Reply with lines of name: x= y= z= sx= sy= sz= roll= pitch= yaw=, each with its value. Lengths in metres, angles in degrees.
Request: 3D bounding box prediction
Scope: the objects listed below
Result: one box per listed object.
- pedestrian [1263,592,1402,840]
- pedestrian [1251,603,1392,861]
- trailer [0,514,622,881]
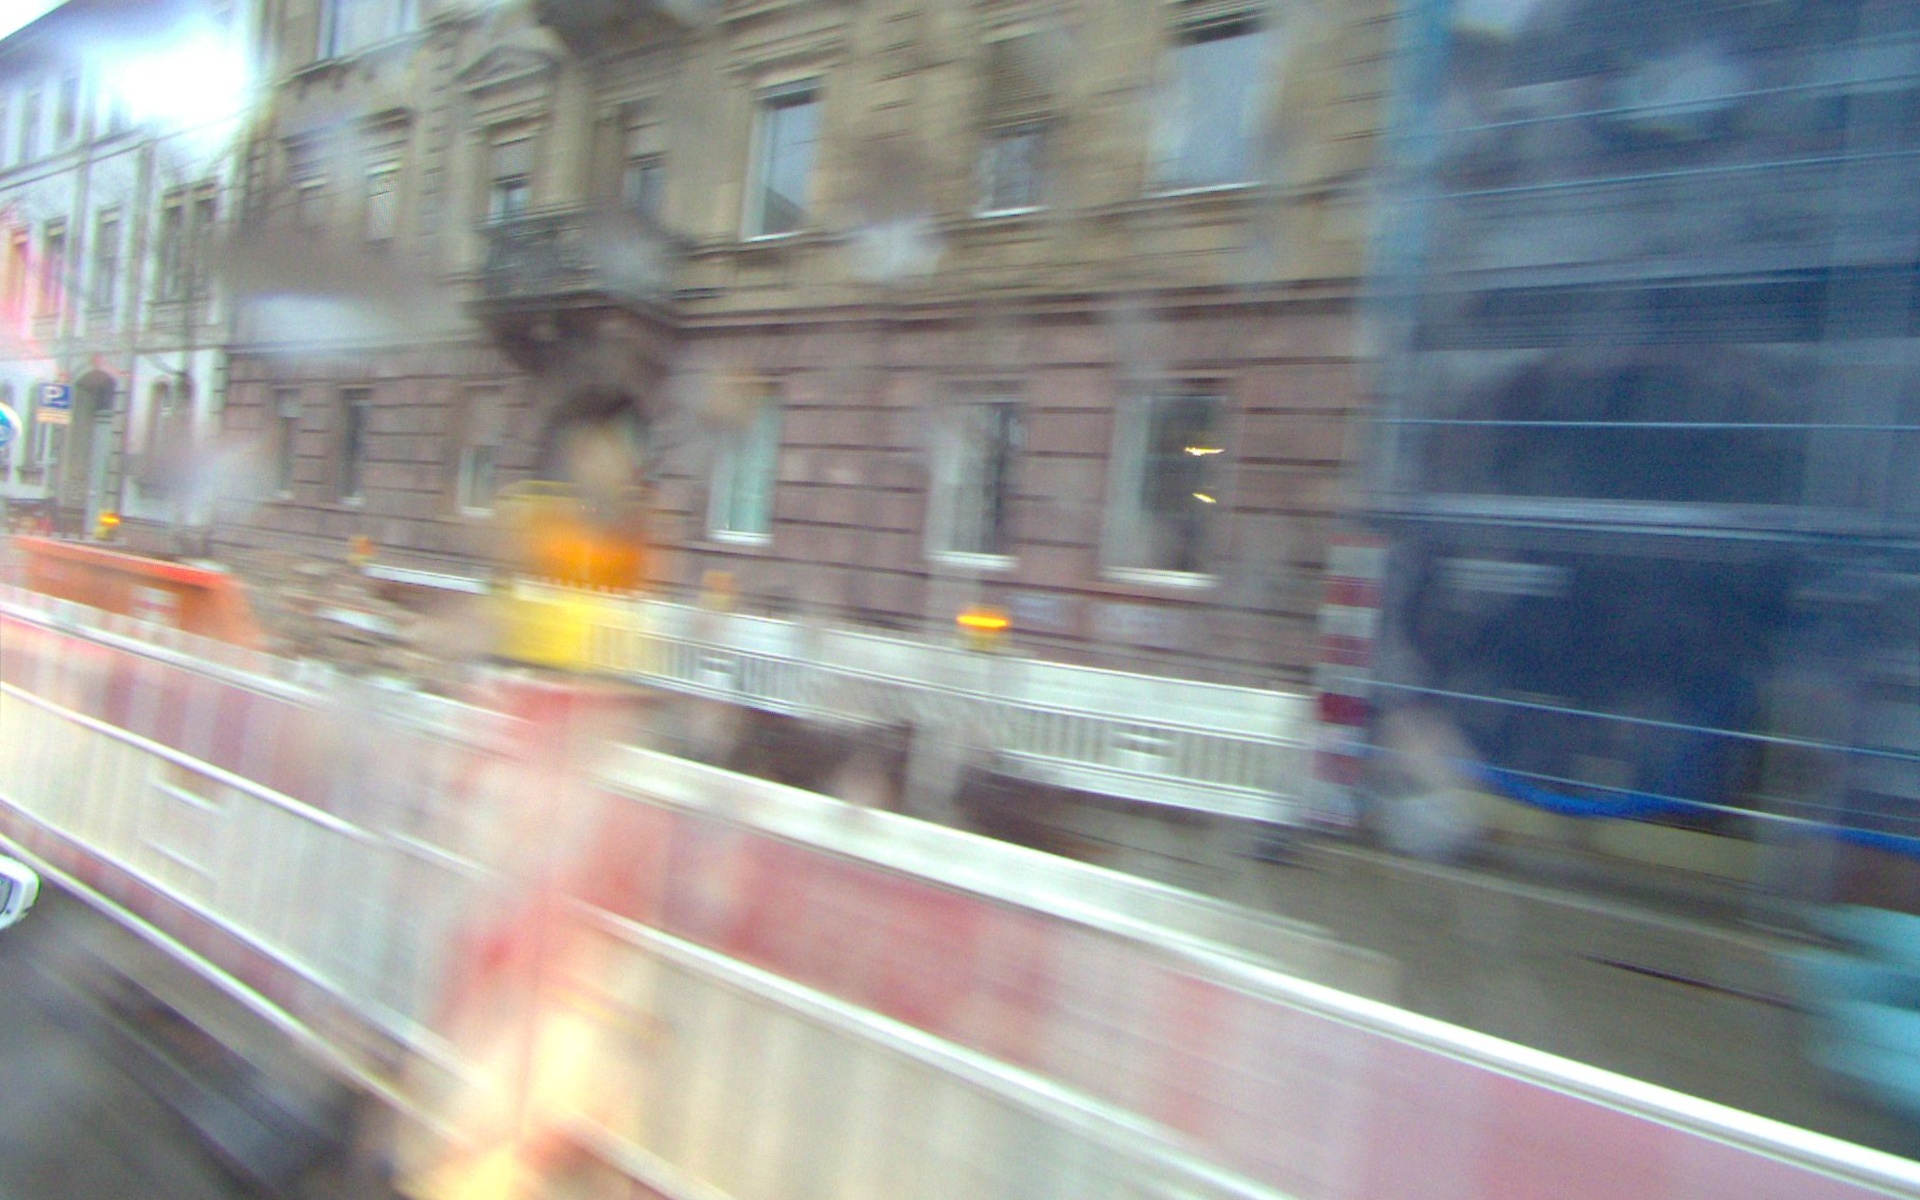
pedestrian: x=2.859 y=0.854 z=7.710 sx=0.715 sy=1.733 sz=0.641 roll=7 pitch=2 yaw=31
pedestrian: x=2.550 y=0.885 z=7.071 sx=0.640 sy=1.643 sz=0.710 roll=7 pitch=3 yaw=31
trailer: x=-3.968 y=0.397 z=5.932 sx=3.469 sy=1.362 sz=1.853 roll=7 pitch=0 yaw=31
